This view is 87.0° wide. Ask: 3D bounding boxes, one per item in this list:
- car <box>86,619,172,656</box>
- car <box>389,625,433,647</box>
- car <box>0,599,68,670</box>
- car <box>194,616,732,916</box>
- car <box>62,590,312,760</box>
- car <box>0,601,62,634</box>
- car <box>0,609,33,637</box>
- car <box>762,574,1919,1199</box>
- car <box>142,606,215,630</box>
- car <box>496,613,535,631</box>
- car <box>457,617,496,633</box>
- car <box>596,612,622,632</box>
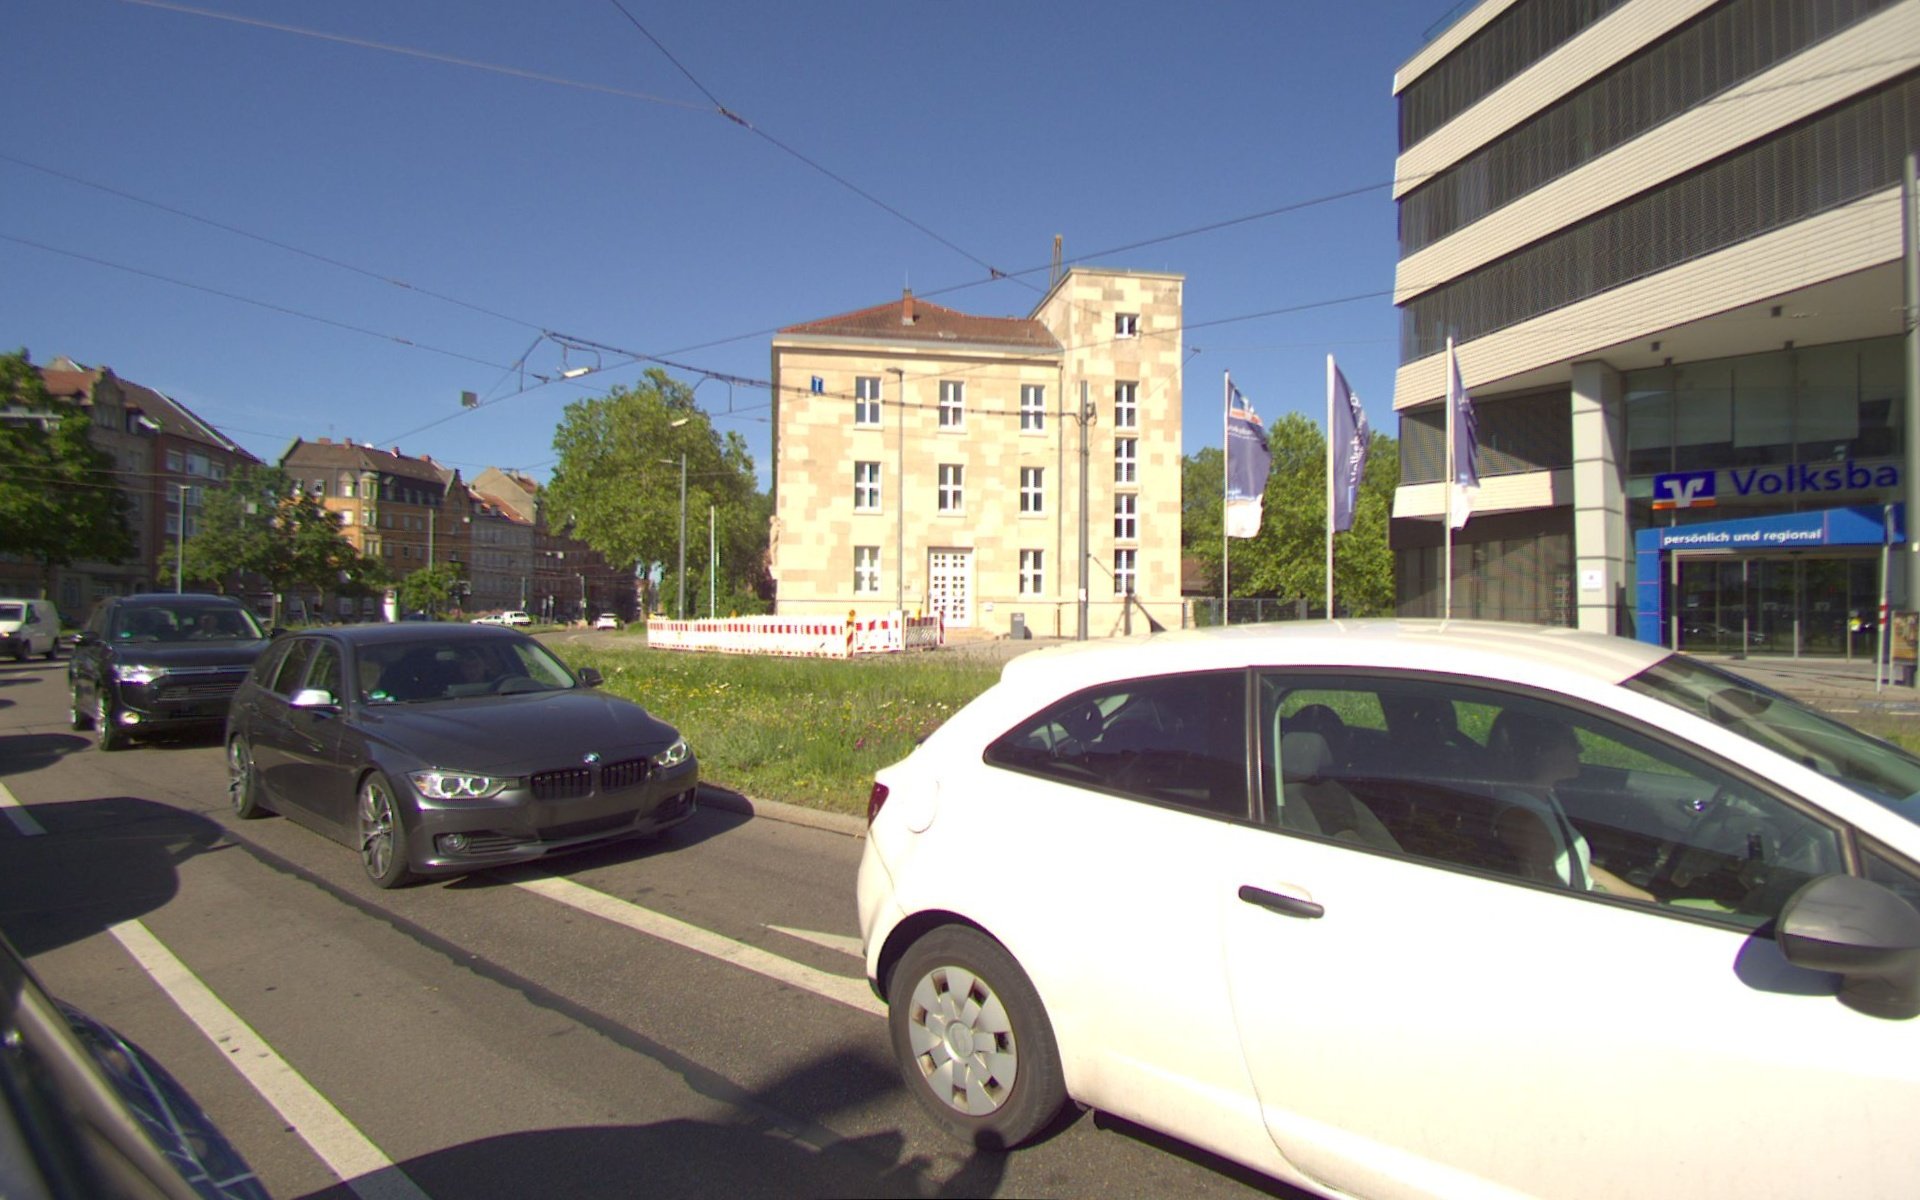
[{"bbox_3d":[-35.330,1.560,43.161,1.809,1.483,4.728,2,-1,-26],"label":"car"},{"bbox_3d":[-43.645,2.843,80.566,1.811,1.659,4.157,1,-1,-10],"label":"car"},{"bbox_3d":[-30.091,1.037,31.822,1.949,2.101,4.728,2,-1,-28],"label":"car"},{"bbox_3d":[-3.597,0.825,6.883,4.424,1.377,1.719,-1,0,41],"label":"car"},{"bbox_3d":[-9.379,0.770,12.134,1.817,1.658,4.400,-1,-1,-45],"label":"car"},{"bbox_3d":[-49.929,0.886,52.795,4.514,1.680,1.601,2,-2,-43],"label":"car"},{"bbox_3d":[-48.764,1.146,50.389,3.768,1.390,1.602,2,-2,-41],"label":"car"},{"bbox_3d":[1.482,0.692,2.483,4.020,1.452,1.714,0,2,40],"label":"car"},{"bbox_3d":[-53.930,1.268,69.877,3.771,1.603,1.601,2,-2,-44],"label":"car"},{"bbox_3d":[-49.197,2.436,112.011,4.585,1.889,1.975,-1,0,38],"label":"car"},{"bbox_3d":[-56.569,2.923,118.533,3.931,1.663,1.868,-1,0,-18],"label":"car"},{"bbox_3d":[-30.048,1.902,86.723,1.795,1.658,4.193,0,-1,-14],"label":"car"}]
